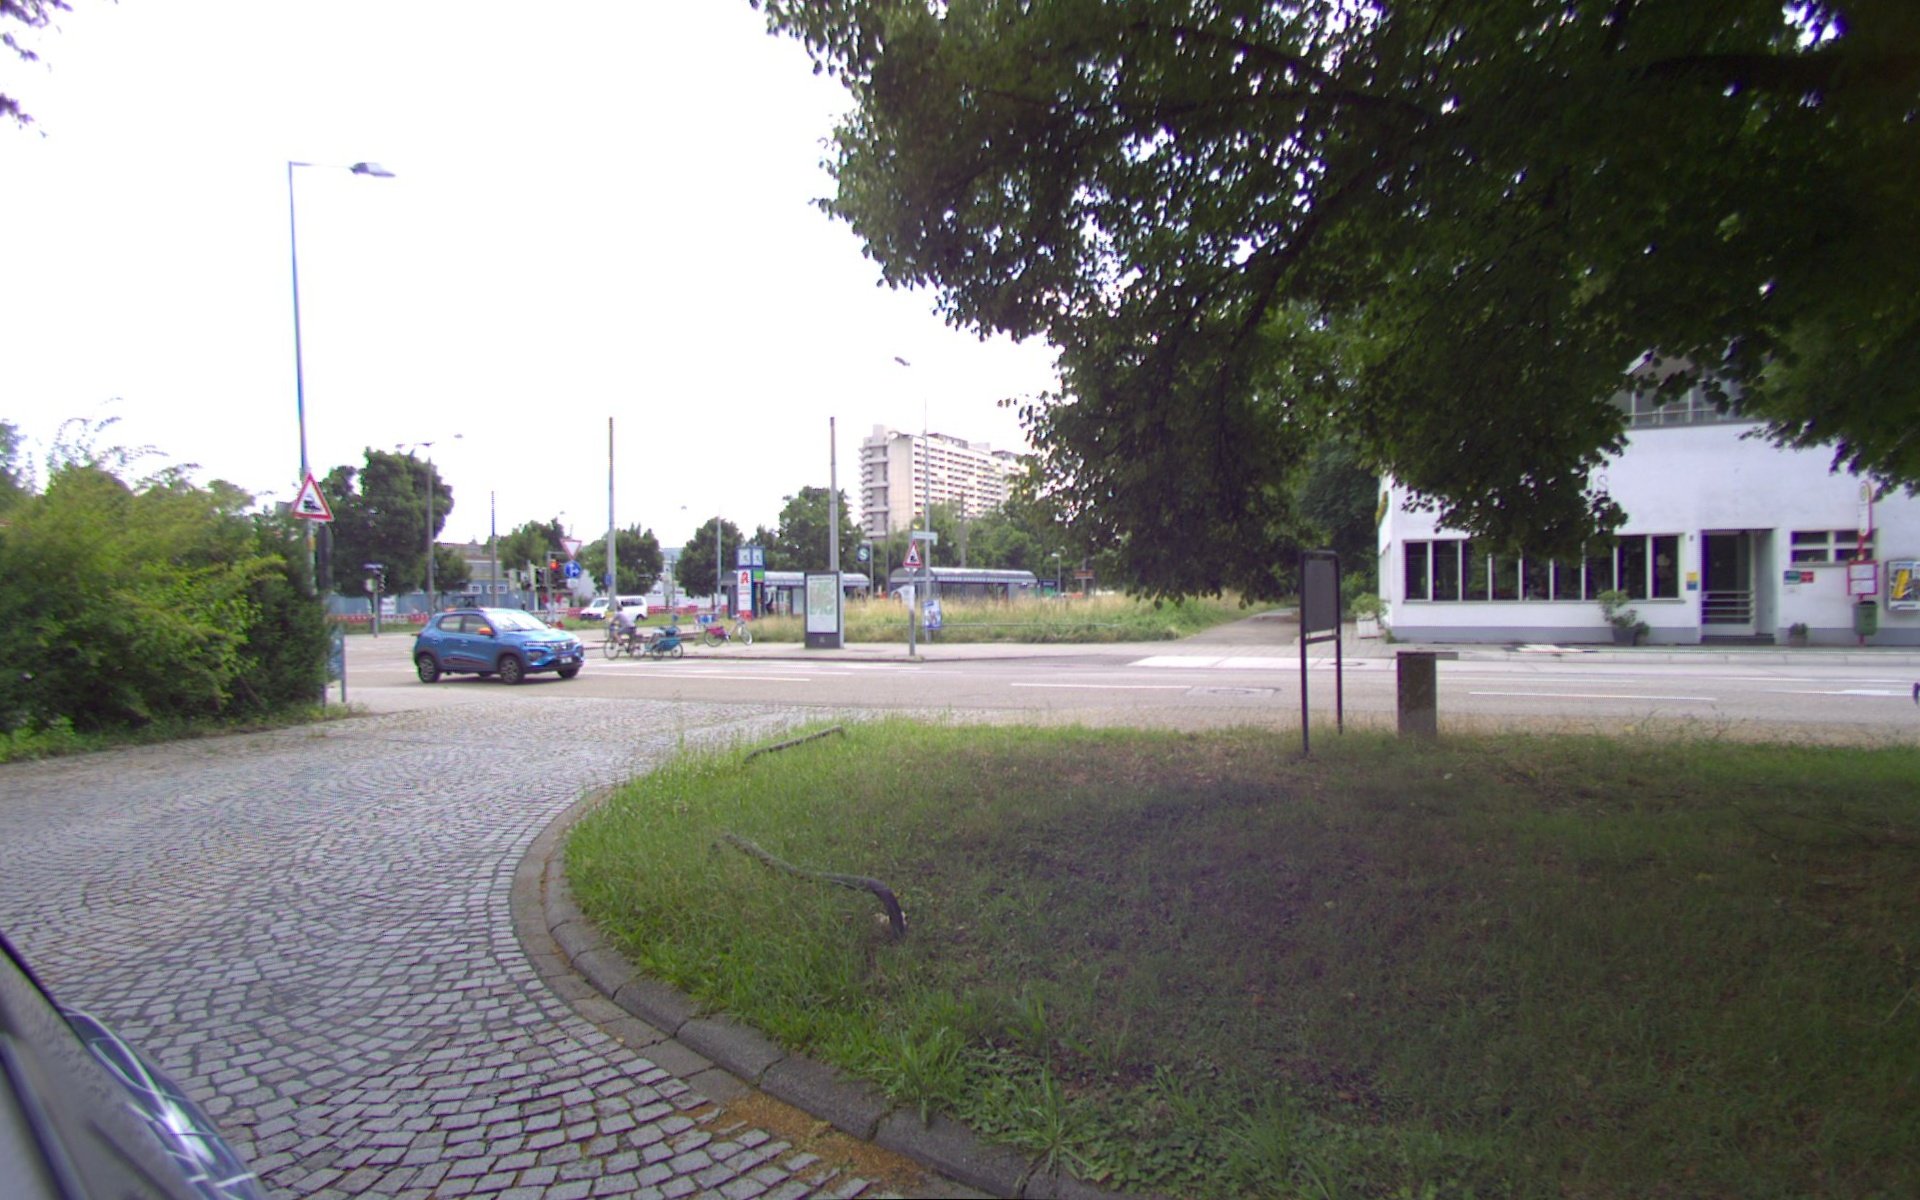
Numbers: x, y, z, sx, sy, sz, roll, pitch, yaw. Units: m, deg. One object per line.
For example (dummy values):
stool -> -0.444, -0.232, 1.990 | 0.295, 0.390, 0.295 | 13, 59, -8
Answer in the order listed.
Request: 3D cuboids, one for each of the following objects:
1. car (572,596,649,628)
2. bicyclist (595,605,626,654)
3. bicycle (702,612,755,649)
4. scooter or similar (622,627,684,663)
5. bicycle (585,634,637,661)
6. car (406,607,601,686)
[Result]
car -> -23.280, 0.794, 67.565 | 1.992, 2.029, 4.784 | -1, 0, 30
bicyclist -> -10.663, 0.895, 30.862 | 0.839, 1.486, 0.450 | -1, -1, 32
bicycle -> -7.844, 1.024, 34.283 | 1.635, 1.141, 0.702 | -3, 0, -5
scooter or similar -> -9.049, 1.314, 29.806 | 1.574, 0.987, 0.952 | -2, -1, 32
bicycle -> -10.645, 1.445, 30.837 | 1.722, 0.771, 0.549 | -1, -1, 32
car -> -9.281, 0.924, 20.564 | 3.682, 1.475, 1.592 | -2, -1, 25
